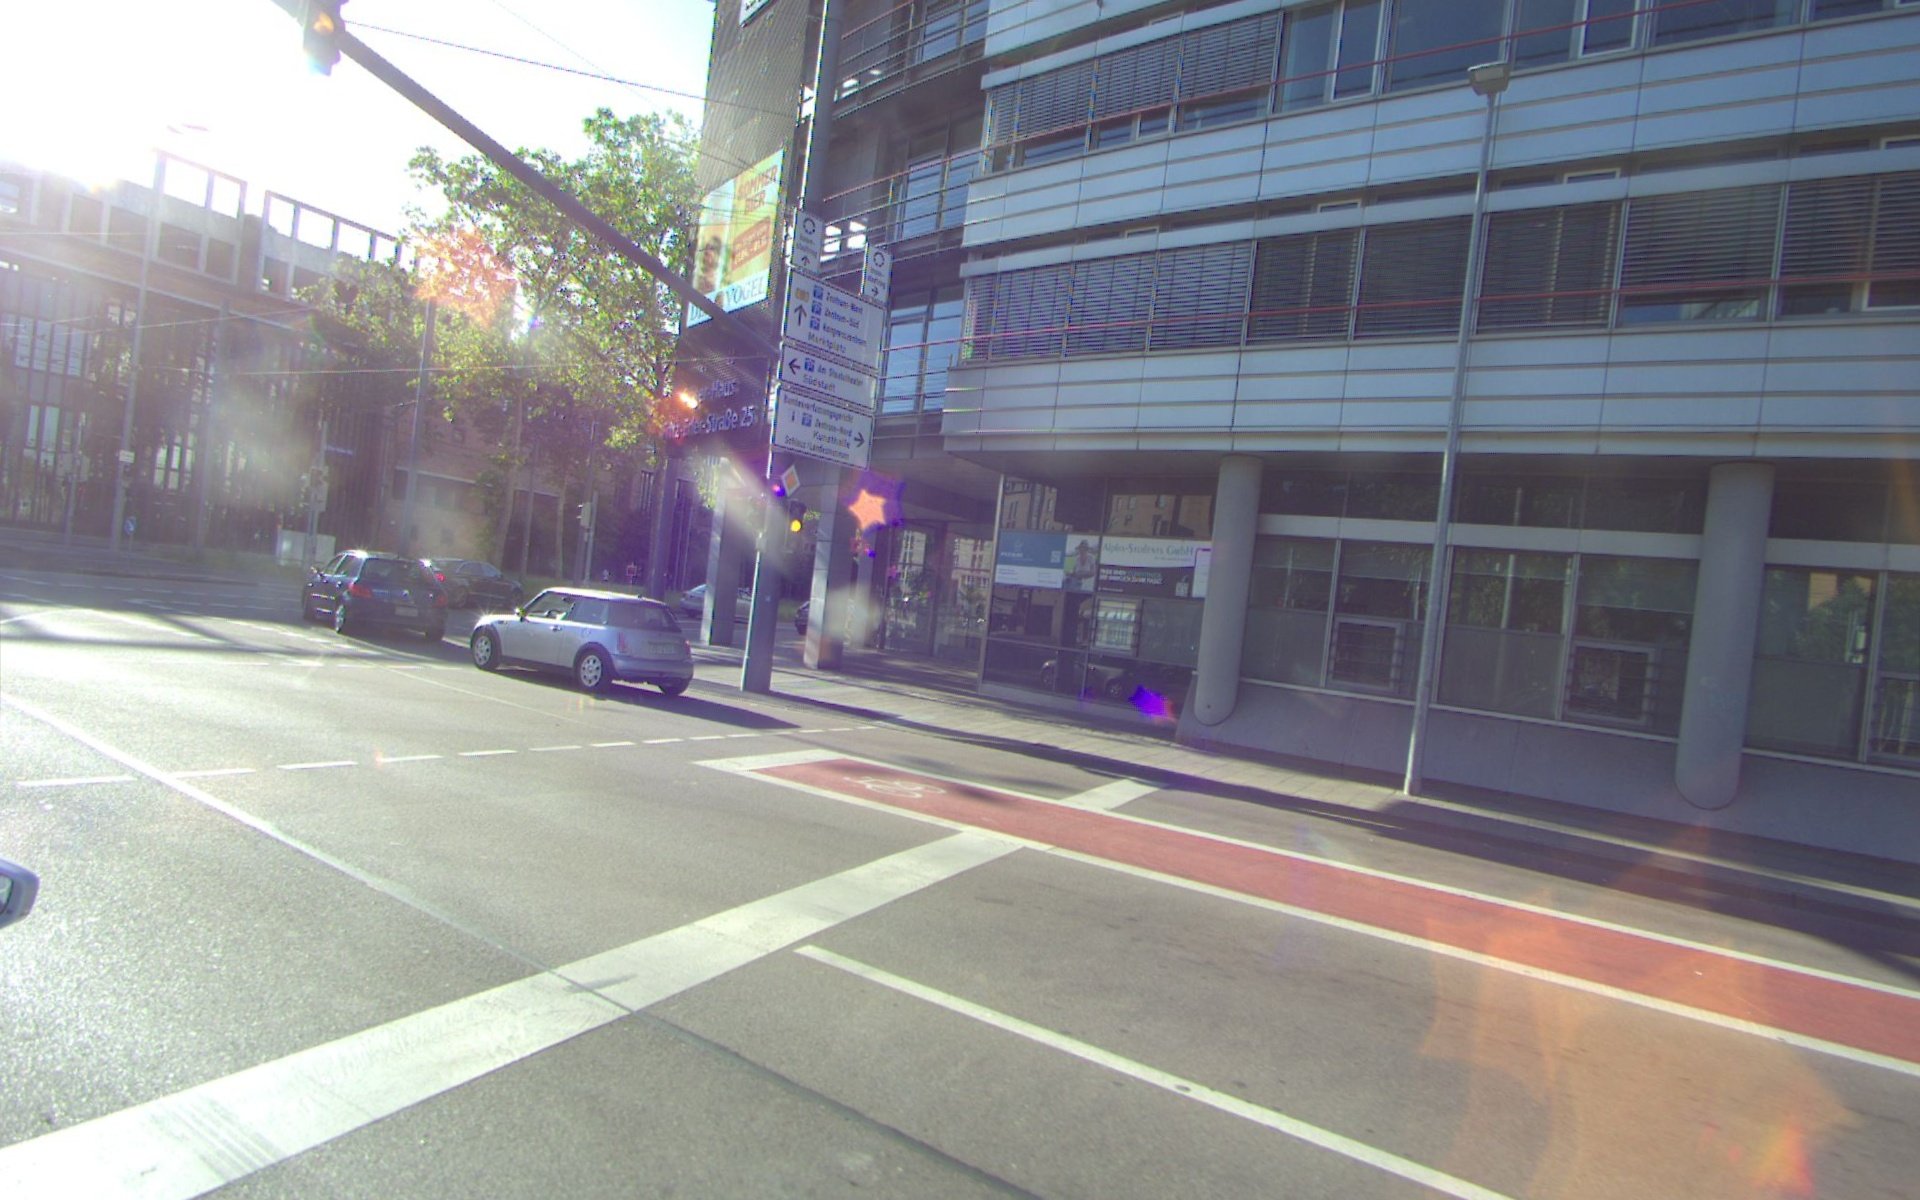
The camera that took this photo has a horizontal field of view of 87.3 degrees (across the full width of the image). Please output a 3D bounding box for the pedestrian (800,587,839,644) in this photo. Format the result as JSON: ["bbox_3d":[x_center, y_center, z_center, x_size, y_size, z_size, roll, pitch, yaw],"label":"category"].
[{"bbox_3d":[-4.370,0.498,31.303,0.649,1.660,0.792,8,0,28],"label":"pedestrian"}]

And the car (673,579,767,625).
[{"bbox_3d":[-9.762,0.118,41.169,1.669,1.492,3.982,7,-1,20],"label":"car"}]

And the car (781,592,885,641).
[{"bbox_3d":[-4.945,0.676,39.724,1.837,1.492,3.969,7,-1,33],"label":"car"}]

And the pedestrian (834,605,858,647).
[{"bbox_3d":[-3.542,0.818,31.281,0.435,1.225,0.461,8,0,28],"label":"pedestrian"}]

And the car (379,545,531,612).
[{"bbox_3d":[-14.343,-0.554,28.862,1.668,1.457,4.023,6,-2,11],"label":"car"}]

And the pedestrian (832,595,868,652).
[{"bbox_3d":[-3.646,0.778,33.381,0.578,1.754,0.790,6,-2,40],"label":"pedestrian"}]

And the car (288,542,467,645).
[{"bbox_3d":[-11.112,-0.154,19.073,3.926,1.492,1.857,6,-1,44],"label":"car"}]

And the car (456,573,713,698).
[{"bbox_3d":[-5.656,0.521,15.101,3.477,1.404,1.665,6,-2,30],"label":"car"}]

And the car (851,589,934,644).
[{"bbox_3d":[-2.947,0.794,44.893,1.833,2.040,4.458,7,-1,21],"label":"car"}]

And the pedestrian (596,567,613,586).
[{"bbox_3d":[-27.503,-1.823,77.854,0.797,1.401,0.687,7,0,23],"label":"pedestrian"}]
